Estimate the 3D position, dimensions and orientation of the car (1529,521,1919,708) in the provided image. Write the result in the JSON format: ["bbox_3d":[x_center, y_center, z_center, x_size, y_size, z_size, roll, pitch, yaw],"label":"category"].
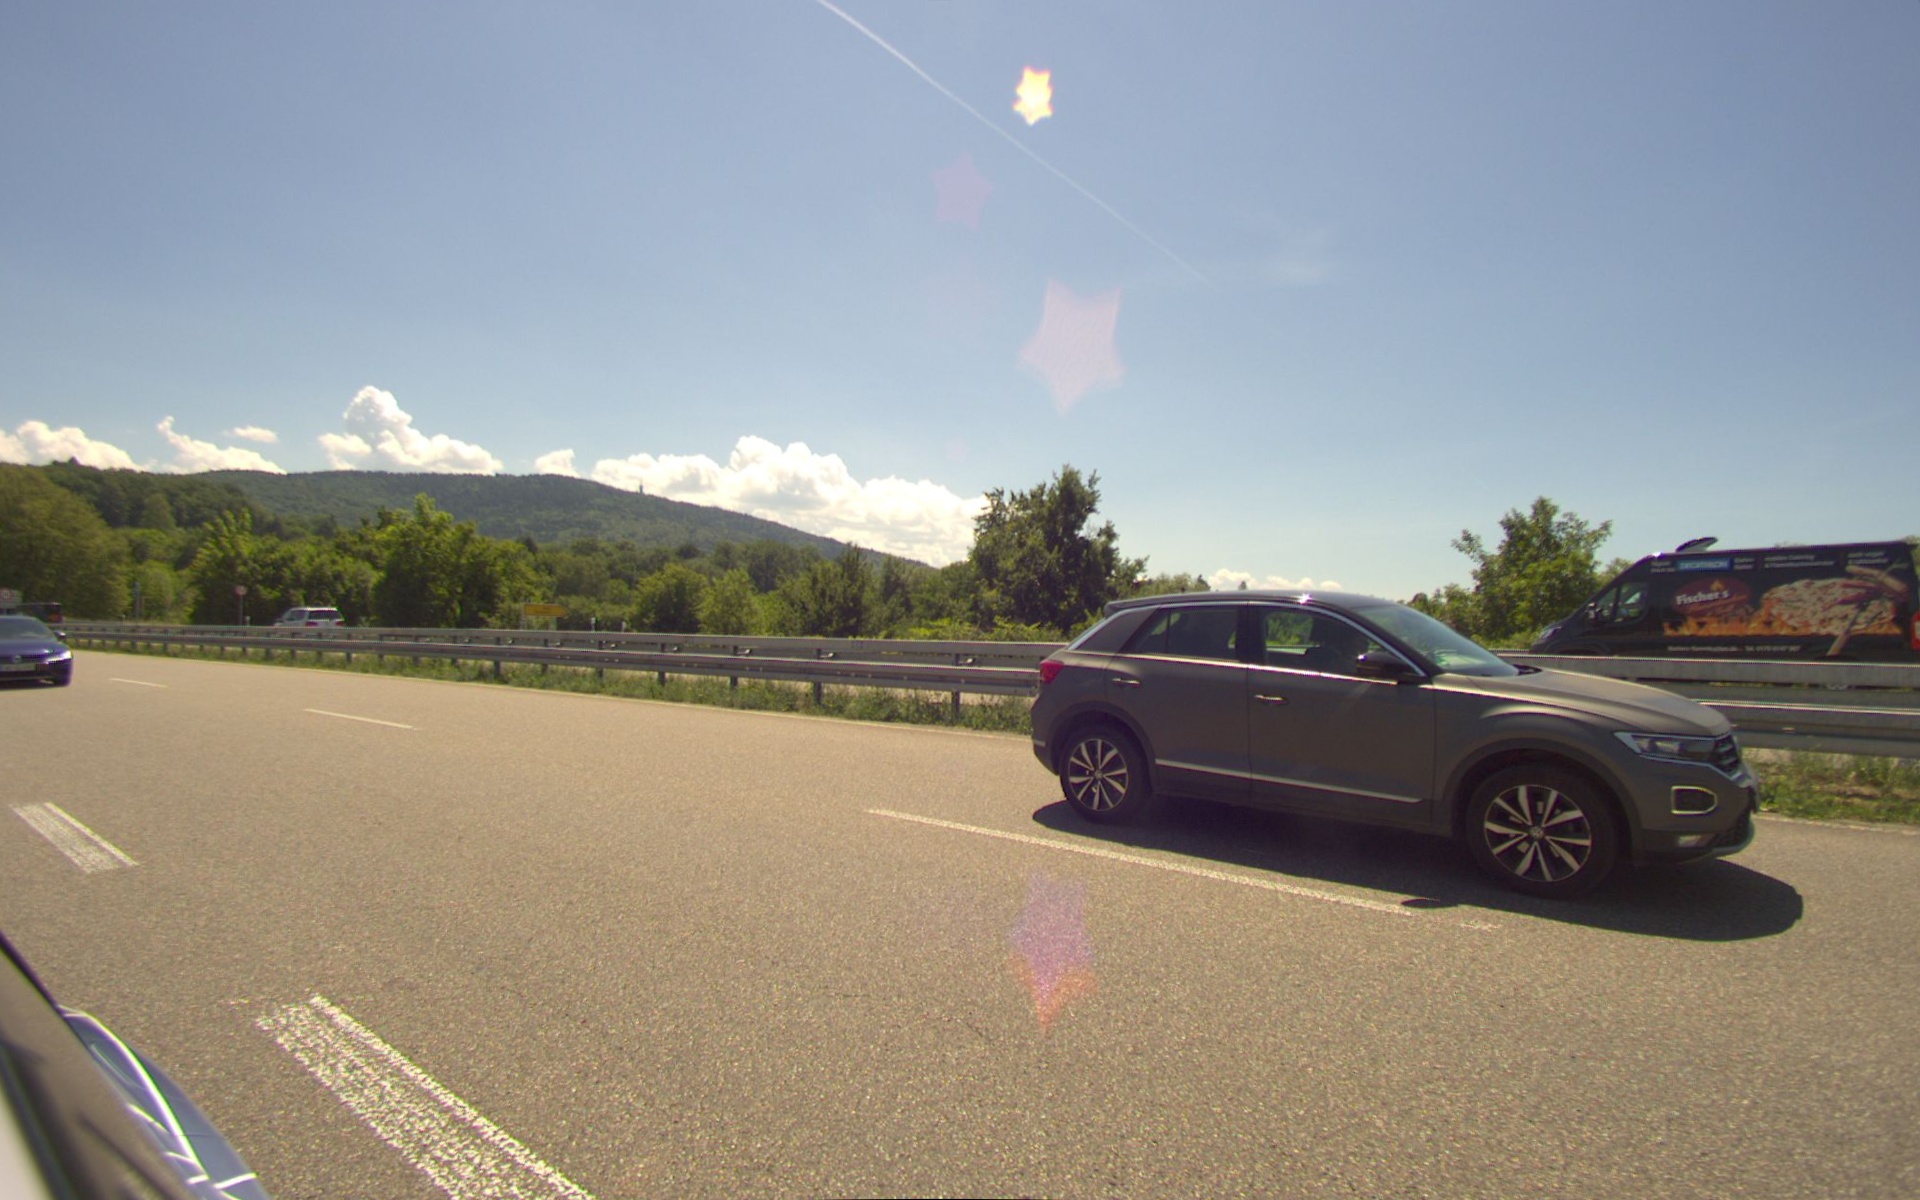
[{"bbox_3d":[12.866,0.208,16.752,5.627,2.657,2.179,1,-1,44],"label":"car"}]

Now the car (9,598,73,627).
[{"bbox_3d":[-64.827,0.886,71.348,4.899,1.907,2.186,1,-1,34],"label":"car"}]

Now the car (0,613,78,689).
[{"bbox_3d":[-19.577,0.992,20.535,4.465,1.418,1.823,-1,-1,39],"label":"car"}]

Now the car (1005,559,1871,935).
[{"bbox_3d":[2.597,0.629,6.299,4.466,1.541,1.822,-1,-1,40],"label":"car"}]

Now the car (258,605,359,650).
[{"bbox_3d":[-29.700,1.219,46.100,4.901,1.907,2.185,1,-1,35],"label":"car"}]
